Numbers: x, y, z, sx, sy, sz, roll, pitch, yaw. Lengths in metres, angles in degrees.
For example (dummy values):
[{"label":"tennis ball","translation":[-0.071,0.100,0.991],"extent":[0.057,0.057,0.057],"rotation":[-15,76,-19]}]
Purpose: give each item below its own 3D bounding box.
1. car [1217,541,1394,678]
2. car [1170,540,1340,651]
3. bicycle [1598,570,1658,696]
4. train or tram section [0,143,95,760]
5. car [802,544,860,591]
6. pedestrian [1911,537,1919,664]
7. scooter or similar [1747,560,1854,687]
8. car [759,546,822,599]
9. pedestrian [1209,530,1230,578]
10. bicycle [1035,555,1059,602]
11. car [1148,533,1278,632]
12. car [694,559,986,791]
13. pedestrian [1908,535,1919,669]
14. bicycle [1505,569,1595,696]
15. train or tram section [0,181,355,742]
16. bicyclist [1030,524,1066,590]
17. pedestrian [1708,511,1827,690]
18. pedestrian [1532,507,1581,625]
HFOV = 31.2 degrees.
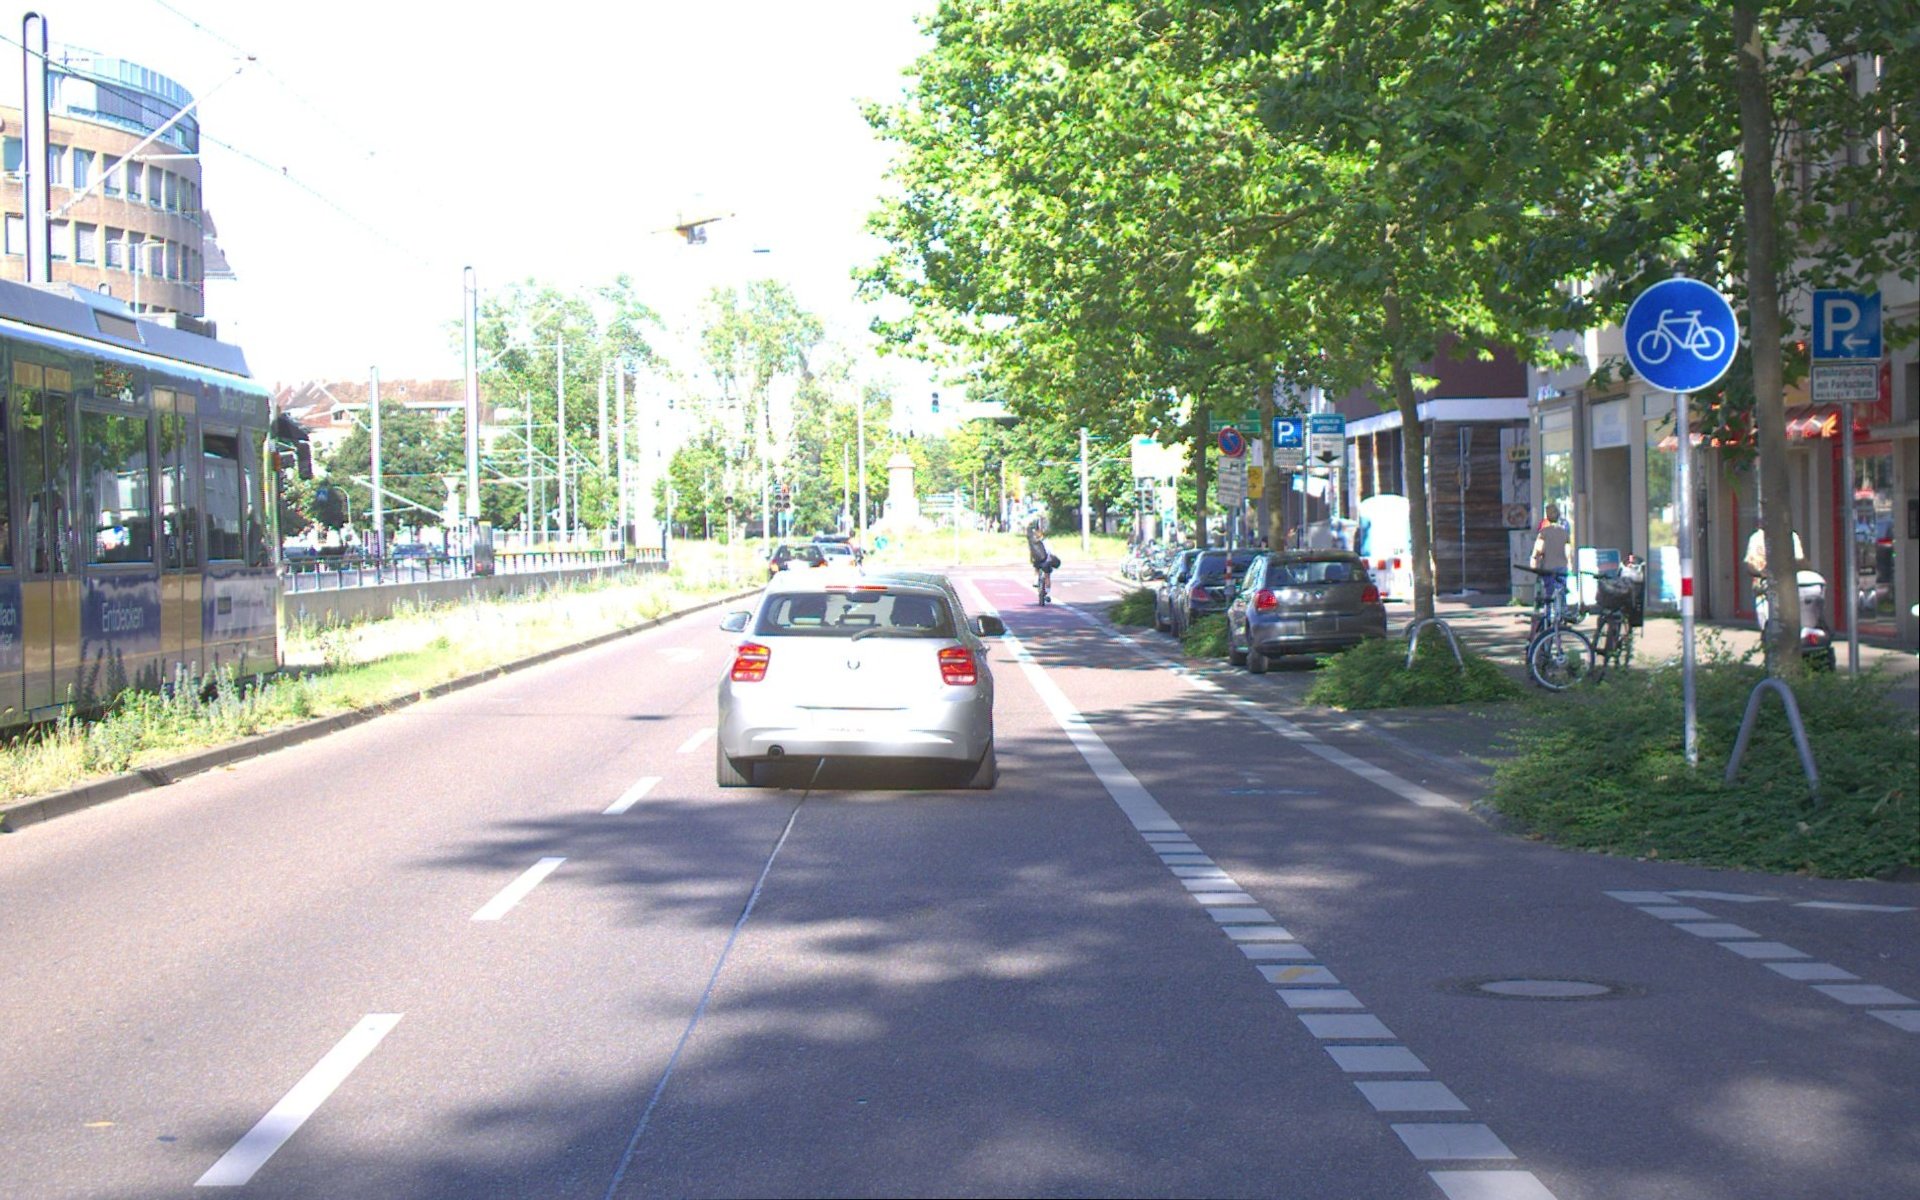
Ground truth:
[{"label":"car","translation":[4.233,0.078,42.611],"extent":[1.694,1.497,3.801],"rotation":[-3,1,0]},{"label":"car","translation":[4.249,-0.103,50.201],"extent":[2.038,1.504,4.594],"rotation":[-1,1,0]},{"label":"bicycle","translation":[6.676,0.314,34.310],"extent":[0.386,1.203,1.872],"rotation":[0,1,17]},{"label":"train or tram section","translation":[-7.525,-0.951,21.894],"extent":[2.955,3.883,3.866],"rotation":[1,1,1]},{"label":"car","translation":[-3.978,-1.023,106.411],"extent":[1.644,1.416,4.000],"rotation":[0,1,0]},{"label":"pedestrian","translation":[10.303,0.004,35.800],"extent":[0.535,1.328,0.820],"rotation":[-2,1,0]},{"label":"scooter or similar","translation":[7.981,0.218,32.681],"extent":[0.744,1.167,0.849],"rotation":[-2,1,-3]},{"label":"car","translation":[-4.847,-0.805,98.325],"extent":[1.726,1.465,4.411],"rotation":[0,1,-3]},{"label":"pedestrian","translation":[10.829,-1.918,143.337],"extent":[0.791,2.007,0.870],"rotation":[1,1,7]},{"label":"bicycle","translation":[2.035,-0.503,80.496],"extent":[0.499,1.085,1.997],"rotation":[1,1,0]},{"label":"car","translation":[4.190,-0.323,57.425],"extent":[1.789,1.550,4.436],"rotation":[-1,1,0]},{"label":"car","translation":[-0.765,0.437,23.127],"extent":[1.798,1.410,4.000],"rotation":[0,1,-1]},{"label":"pedestrian","translation":[10.158,0.008,34.918],"extent":[0.785,1.364,0.857],"rotation":[-2,1,0]},{"label":"bicycle","translation":[5.833,0.324,34.078],"extent":[0.392,1.211,1.903],"rotation":[-2,0,-4]},{"label":"train or tram section","translation":[-7.569,-1.049,29.266],"extent":[2.952,3.883,10.803],"rotation":[1,1,0]},{"label":"bicyclist","translation":[2.066,-1.009,80.510],"extent":[0.785,1.526,0.895],"rotation":[1,1,0]},{"label":"pedestrian","translation":[7.899,-0.006,33.654],"extent":[0.859,1.699,0.917],"rotation":[-2,1,-3]},{"label":"pedestrian","translation":[8.777,-0.505,50.577],"extent":[0.558,1.705,0.770],"rotation":[-1,1,0]}]
